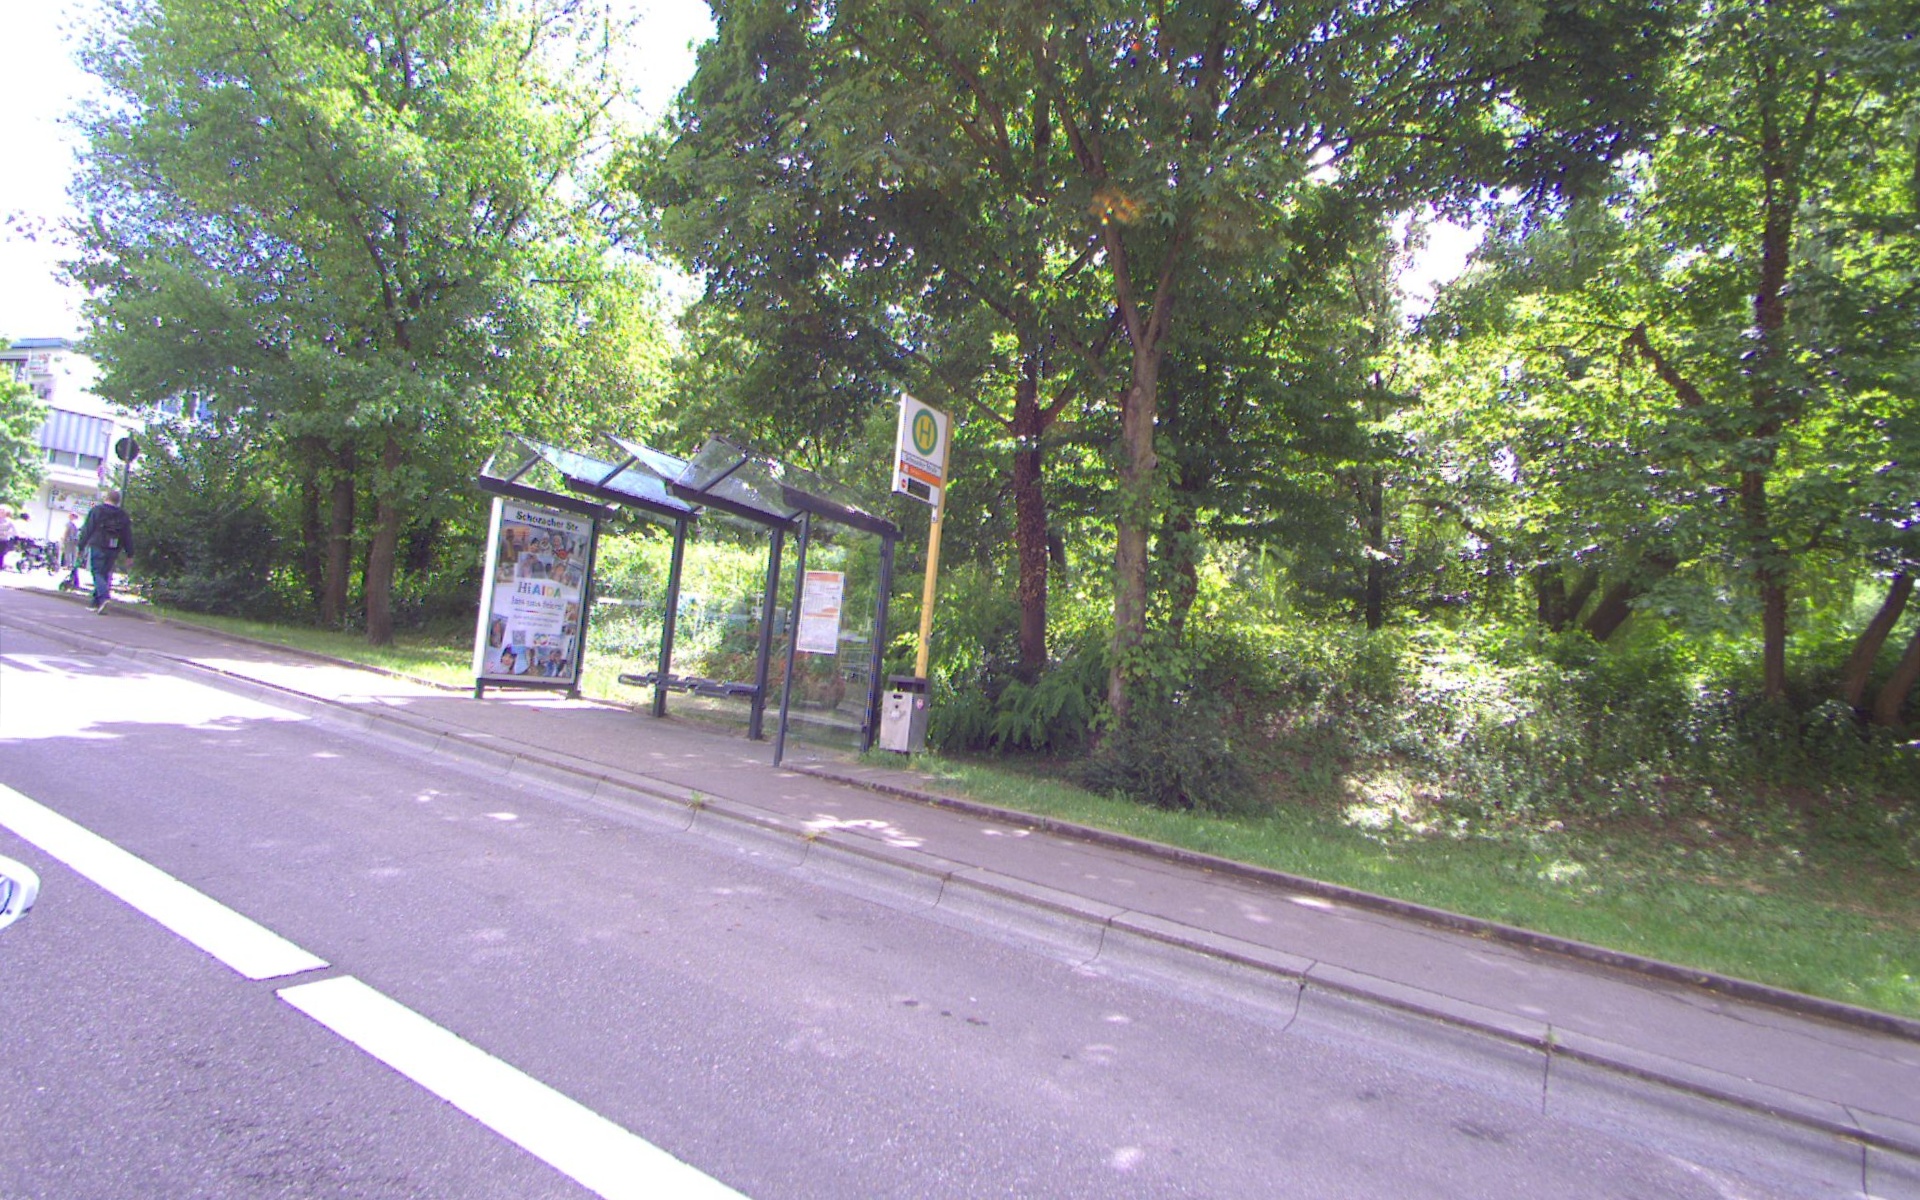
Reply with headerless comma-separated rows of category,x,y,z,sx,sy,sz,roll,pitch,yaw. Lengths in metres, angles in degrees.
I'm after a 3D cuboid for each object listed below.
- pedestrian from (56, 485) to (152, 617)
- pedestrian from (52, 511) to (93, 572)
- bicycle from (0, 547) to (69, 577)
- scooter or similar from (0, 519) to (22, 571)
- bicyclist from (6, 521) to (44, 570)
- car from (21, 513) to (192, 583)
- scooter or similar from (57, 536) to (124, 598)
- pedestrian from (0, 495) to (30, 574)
pedestrian,-13.263,-0.766,15.581,0.999,1.898,0.795,6,-1,40
pedestrian,-26.456,-1.739,29.994,0.652,1.733,0.458,8,-1,-31
bicycle,-24.018,-0.984,25.997,0.524,0.617,1.591,7,-2,0
scooter or similar,-24.830,-1.473,25.609,0.546,1.286,1.153,6,-3,34
bicyclist,-23.972,-1.396,25.789,0.493,1.171,0.399,7,0,-1
car,-33.201,-1.974,39.291,1.964,2.037,4.549,6,-1,24
scooter or similar,-20.212,-0.752,23.388,0.447,1.242,0.893,6,-6,32
pedestrian,-22.337,-1.540,23.442,0.508,1.787,0.638,7,-1,21
